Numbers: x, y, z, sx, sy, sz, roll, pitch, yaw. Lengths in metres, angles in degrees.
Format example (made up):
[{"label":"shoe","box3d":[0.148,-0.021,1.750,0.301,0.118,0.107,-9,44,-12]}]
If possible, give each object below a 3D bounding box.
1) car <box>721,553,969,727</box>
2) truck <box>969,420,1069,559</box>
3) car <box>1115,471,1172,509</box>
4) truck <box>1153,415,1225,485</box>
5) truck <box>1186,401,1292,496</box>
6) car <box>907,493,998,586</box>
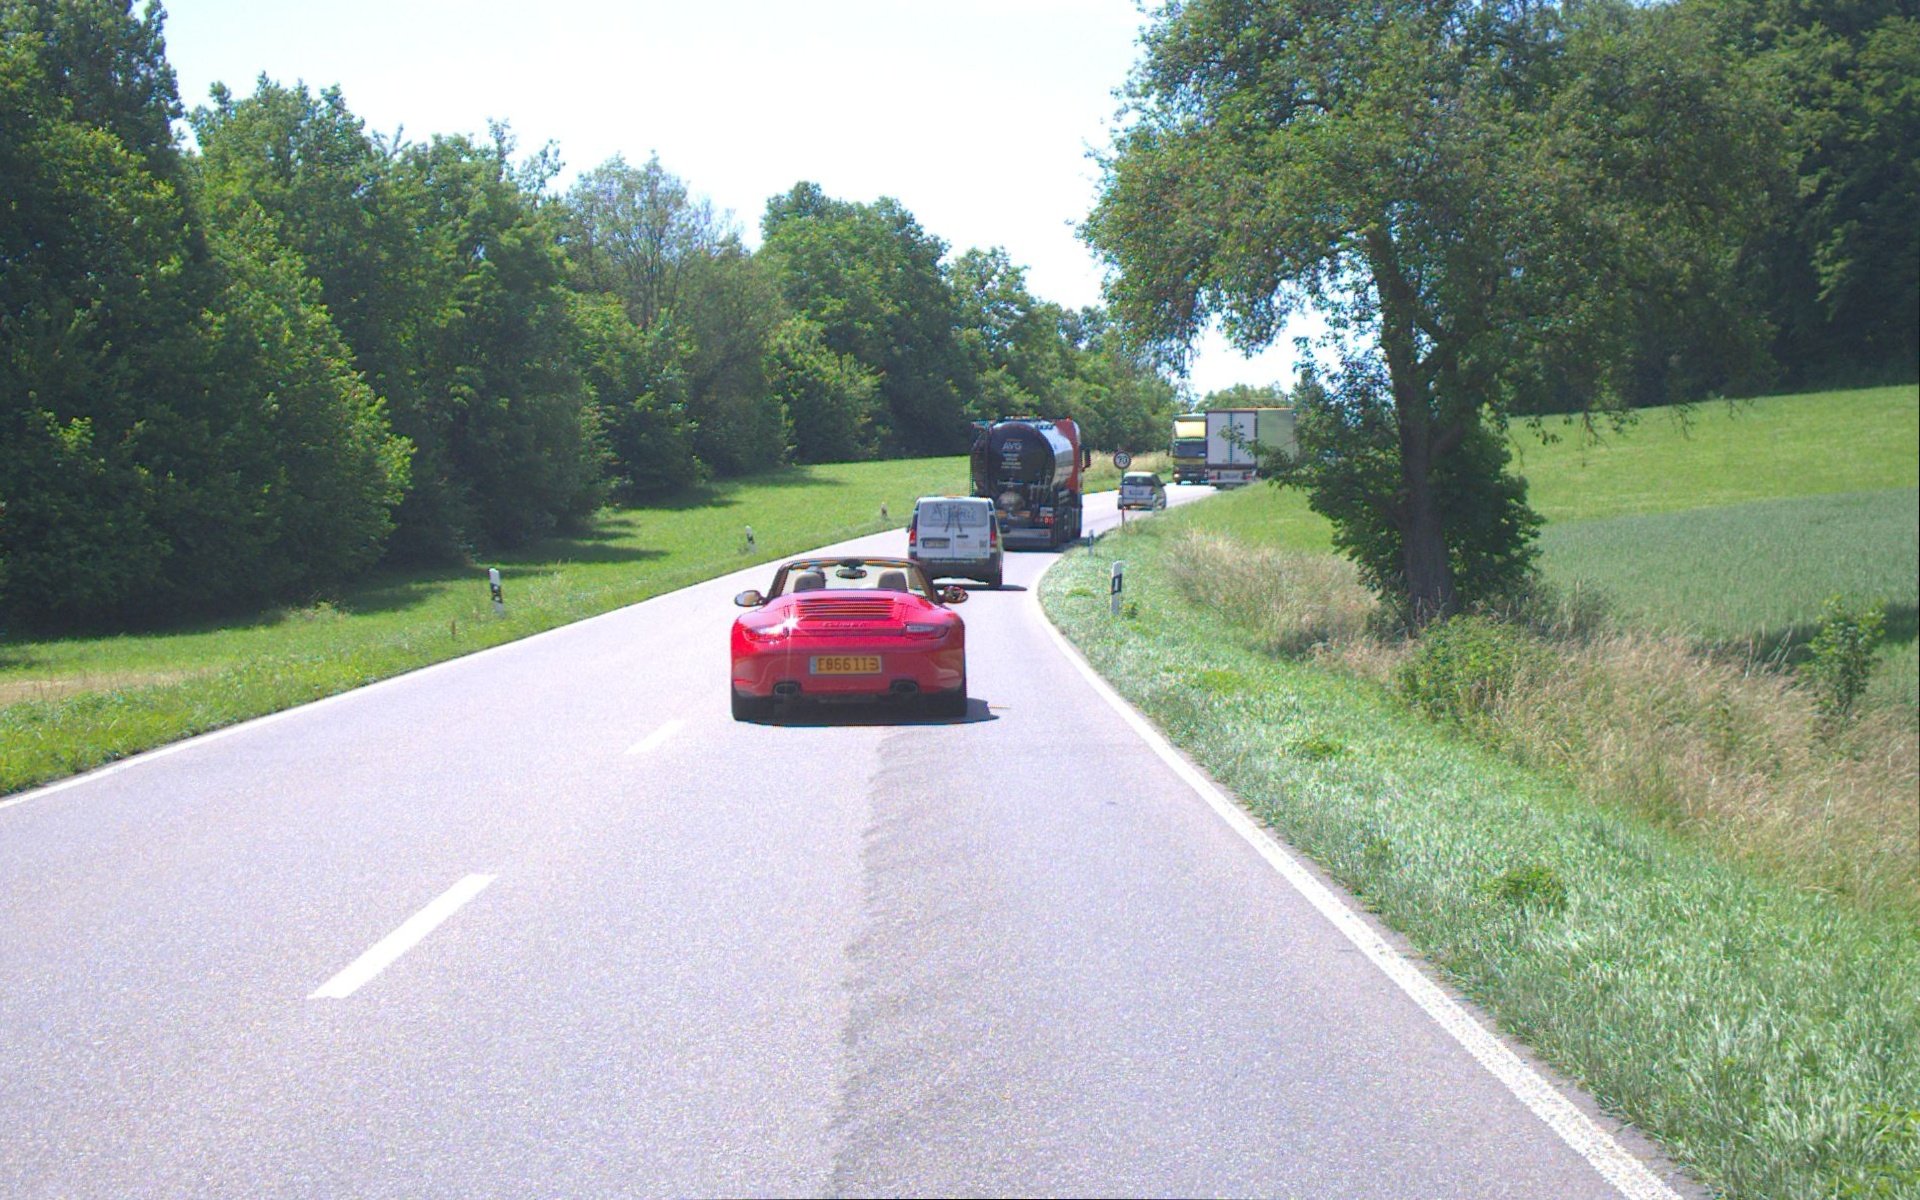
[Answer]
[{"label":"car","box3d":[-0.905,0.277,28.097,1.882,1.250,4.010,0,2,-1]},{"label":"truck","box3d":[1.932,-3.382,107.142,2.404,4.036,12.549,-1,1,4]},{"label":"car","box3d":[7.666,-4.586,143.269,1.831,1.508,4.189,0,3,11]},{"label":"truck","box3d":[12.423,-8.079,185.756,2.732,3.678,8.542,1,2,12]},{"label":"truck","box3d":[14.359,-7.798,175.735,3.727,4.644,12.025,0,3,13]},{"label":"car","box3d":[-0.128,-1.296,72.015,1.679,1.894,4.009,0,2,3]}]
